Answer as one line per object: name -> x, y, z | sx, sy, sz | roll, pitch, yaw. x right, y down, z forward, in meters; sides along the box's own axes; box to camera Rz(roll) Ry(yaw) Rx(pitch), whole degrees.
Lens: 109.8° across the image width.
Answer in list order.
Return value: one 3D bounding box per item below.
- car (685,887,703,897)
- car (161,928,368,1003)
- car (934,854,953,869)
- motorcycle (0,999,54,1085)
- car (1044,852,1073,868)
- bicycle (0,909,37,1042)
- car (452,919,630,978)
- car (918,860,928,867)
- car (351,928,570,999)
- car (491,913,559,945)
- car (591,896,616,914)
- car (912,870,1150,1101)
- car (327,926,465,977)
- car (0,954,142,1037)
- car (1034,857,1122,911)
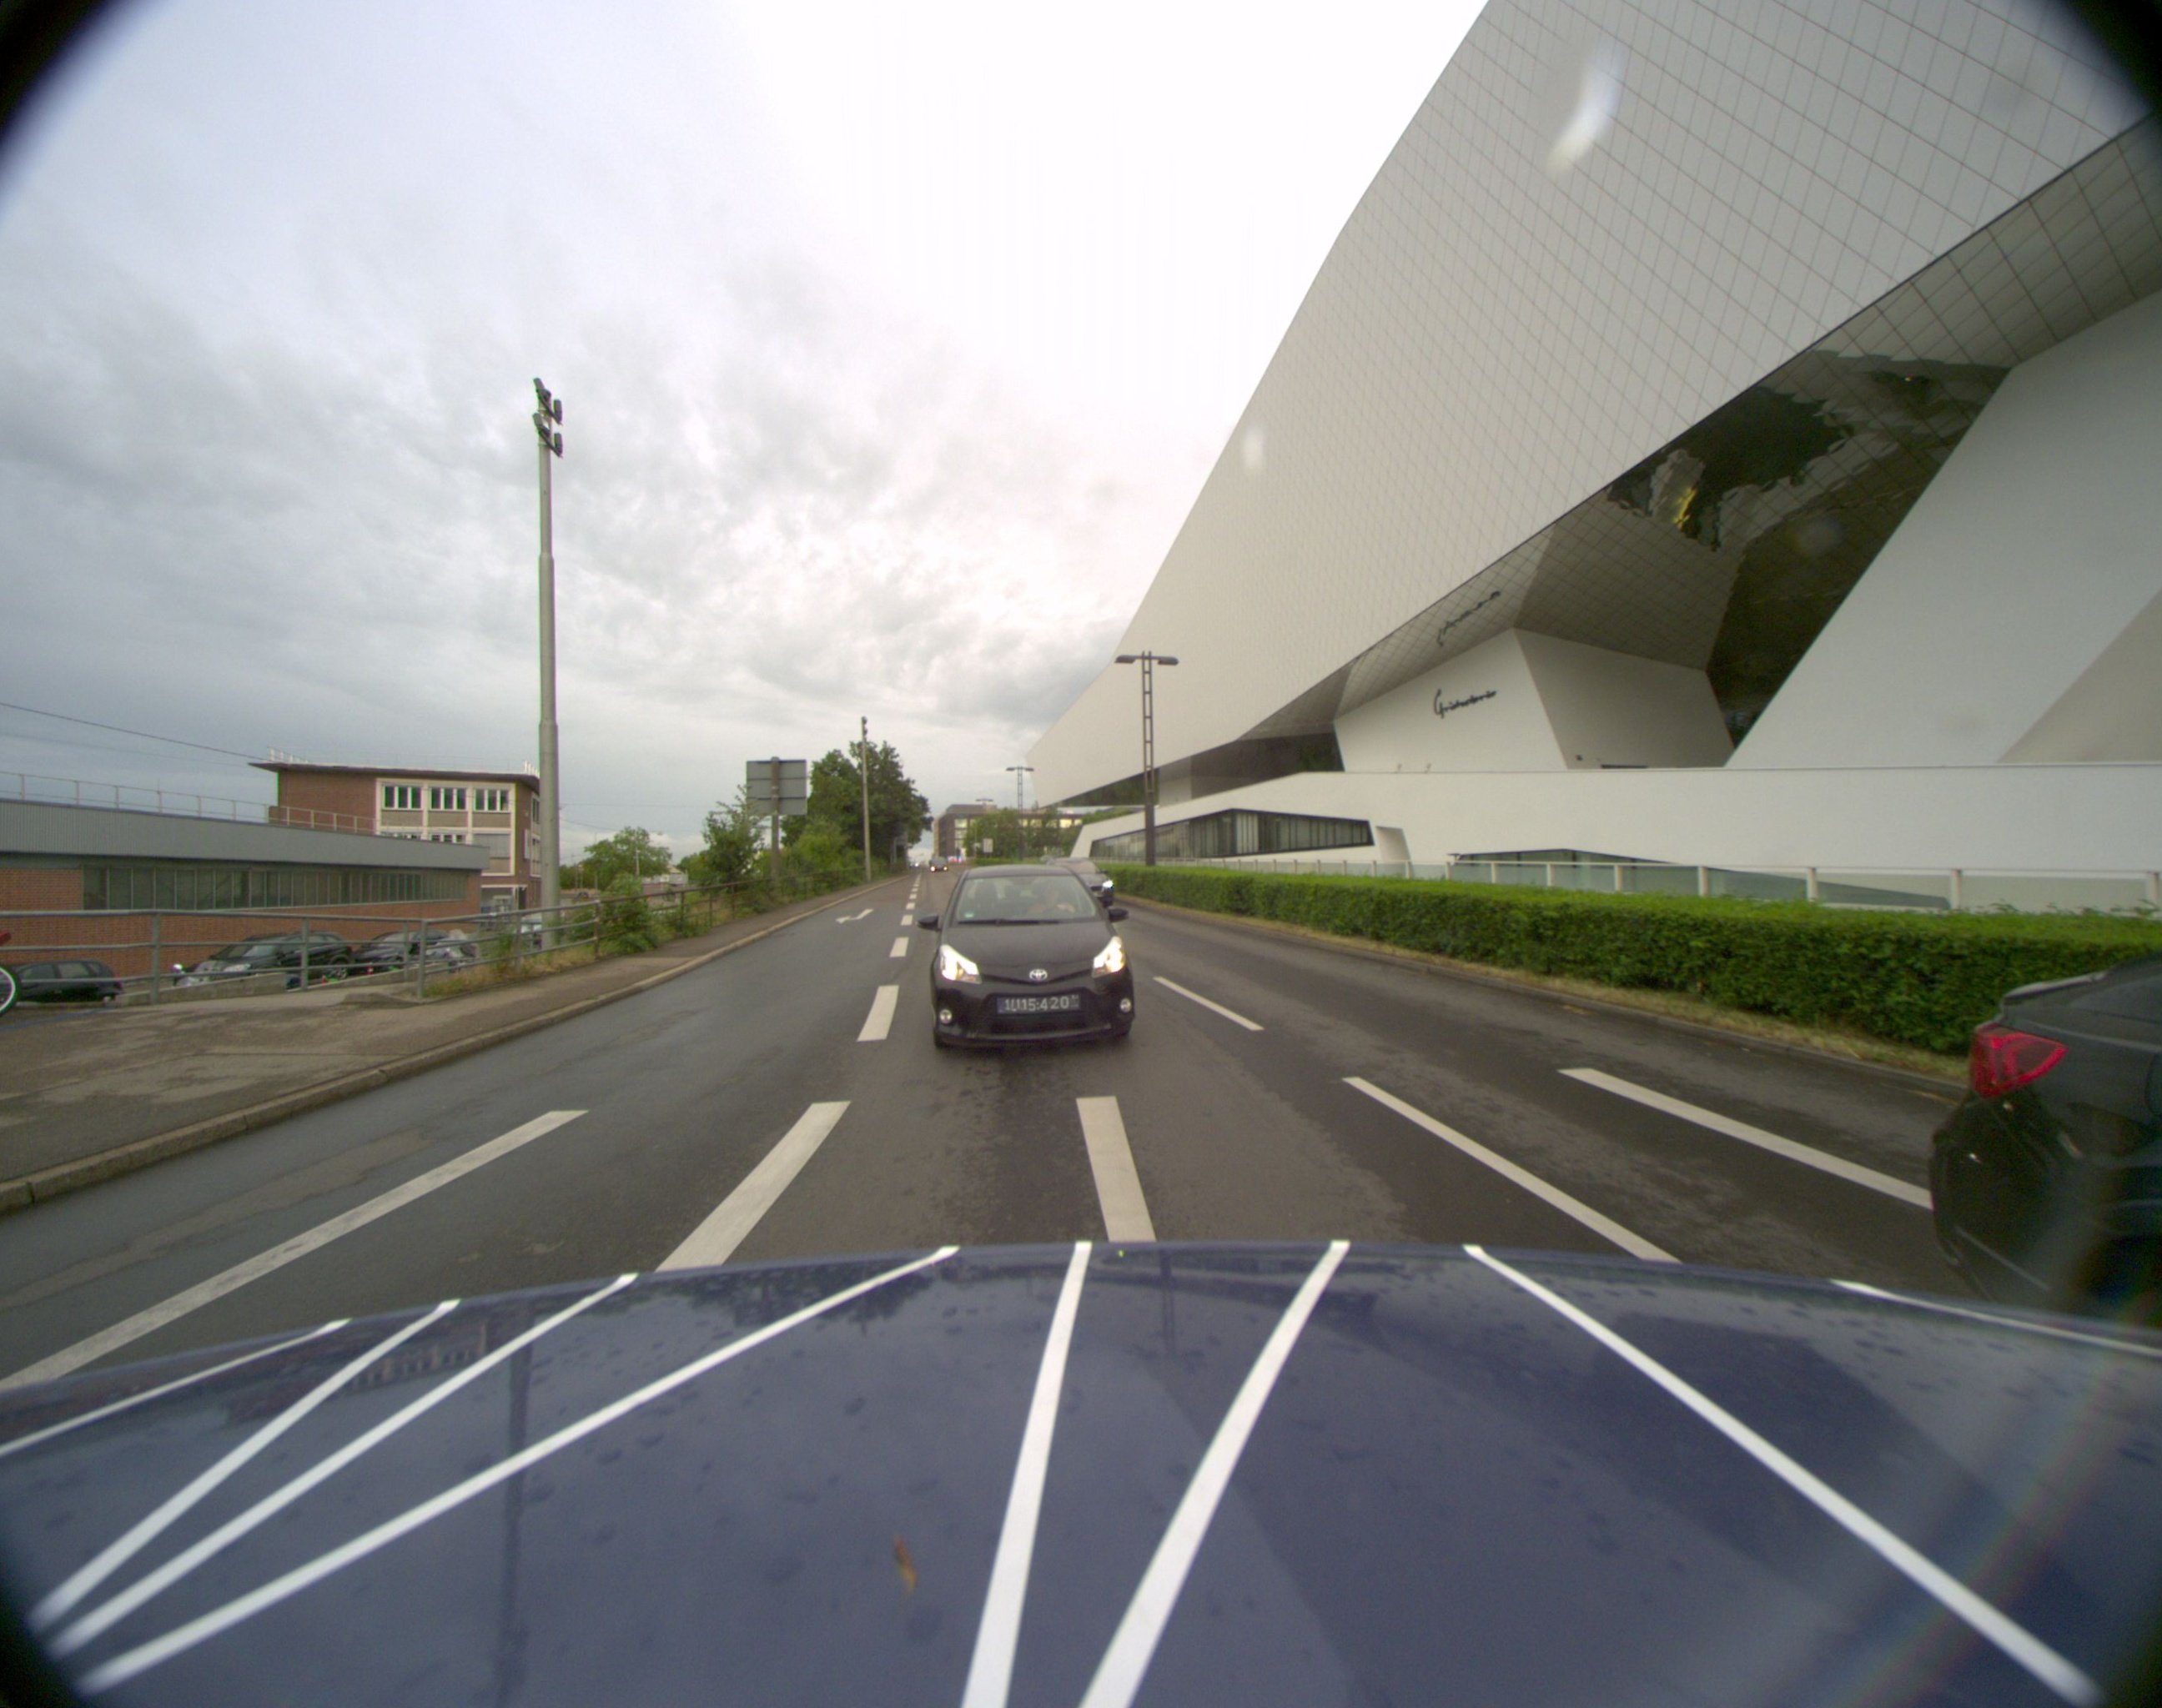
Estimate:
car -> -55.086, 5.375, 108.064 | 1.724, 1.417, 3.991 | -1, -1, -34
car -> -24.447, 3.265, 23.047 | 1.784, 1.657, 4.503 | -2, -1, -7
car -> -14.054, 0.748, 77.944 | 1.750, 1.466, 4.065 | -2, 1, -9
motorcycle -> -13.388, 2.287, 8.873 | 1.618, 0.916, 0.420 | -3, 1, -24
car -> -1.933, 0.493, 64.978 | 1.725, 1.330, 3.995 | -2, 1, -13
bicycle -> -10.391, 1.090, 6.570 | 1.547, 1.148, 0.450 | 0, 2, -27
car -> -15.498, 2.709, 21.921 | 3.995, 1.417, 1.722 | -2, -1, 5
car -> -33.560, 2.016, 161.064 | 1.819, 1.429, 4.298 | 0, -2, -15
car -> -14.868, 2.611, 18.328 | 3.995, 1.417, 1.722 | -2, -1, 5
car -> -30.120, 4.041, 41.290 | 1.734, 1.380, 3.995 | -2, -1, -17
car -> -42.001, 4.437, 66.874 | 1.723, 1.417, 3.991 | -1, -1, -30
car -> -0.626, 0.990, 7.551 | 1.695, 1.498, 4.008 | -2, 1, -8
car -> -25.691, 3.601, 28.729 | 1.720, 1.396, 4.273 | -2, -1, -7
car -> -23.190, 3.099, 16.209 | 1.721, 1.417, 3.997 | -2, -1, -10
car -> -0.201, 0.846, 23.184 | 1.819, 1.430, 4.297 | -2, 0, -12
